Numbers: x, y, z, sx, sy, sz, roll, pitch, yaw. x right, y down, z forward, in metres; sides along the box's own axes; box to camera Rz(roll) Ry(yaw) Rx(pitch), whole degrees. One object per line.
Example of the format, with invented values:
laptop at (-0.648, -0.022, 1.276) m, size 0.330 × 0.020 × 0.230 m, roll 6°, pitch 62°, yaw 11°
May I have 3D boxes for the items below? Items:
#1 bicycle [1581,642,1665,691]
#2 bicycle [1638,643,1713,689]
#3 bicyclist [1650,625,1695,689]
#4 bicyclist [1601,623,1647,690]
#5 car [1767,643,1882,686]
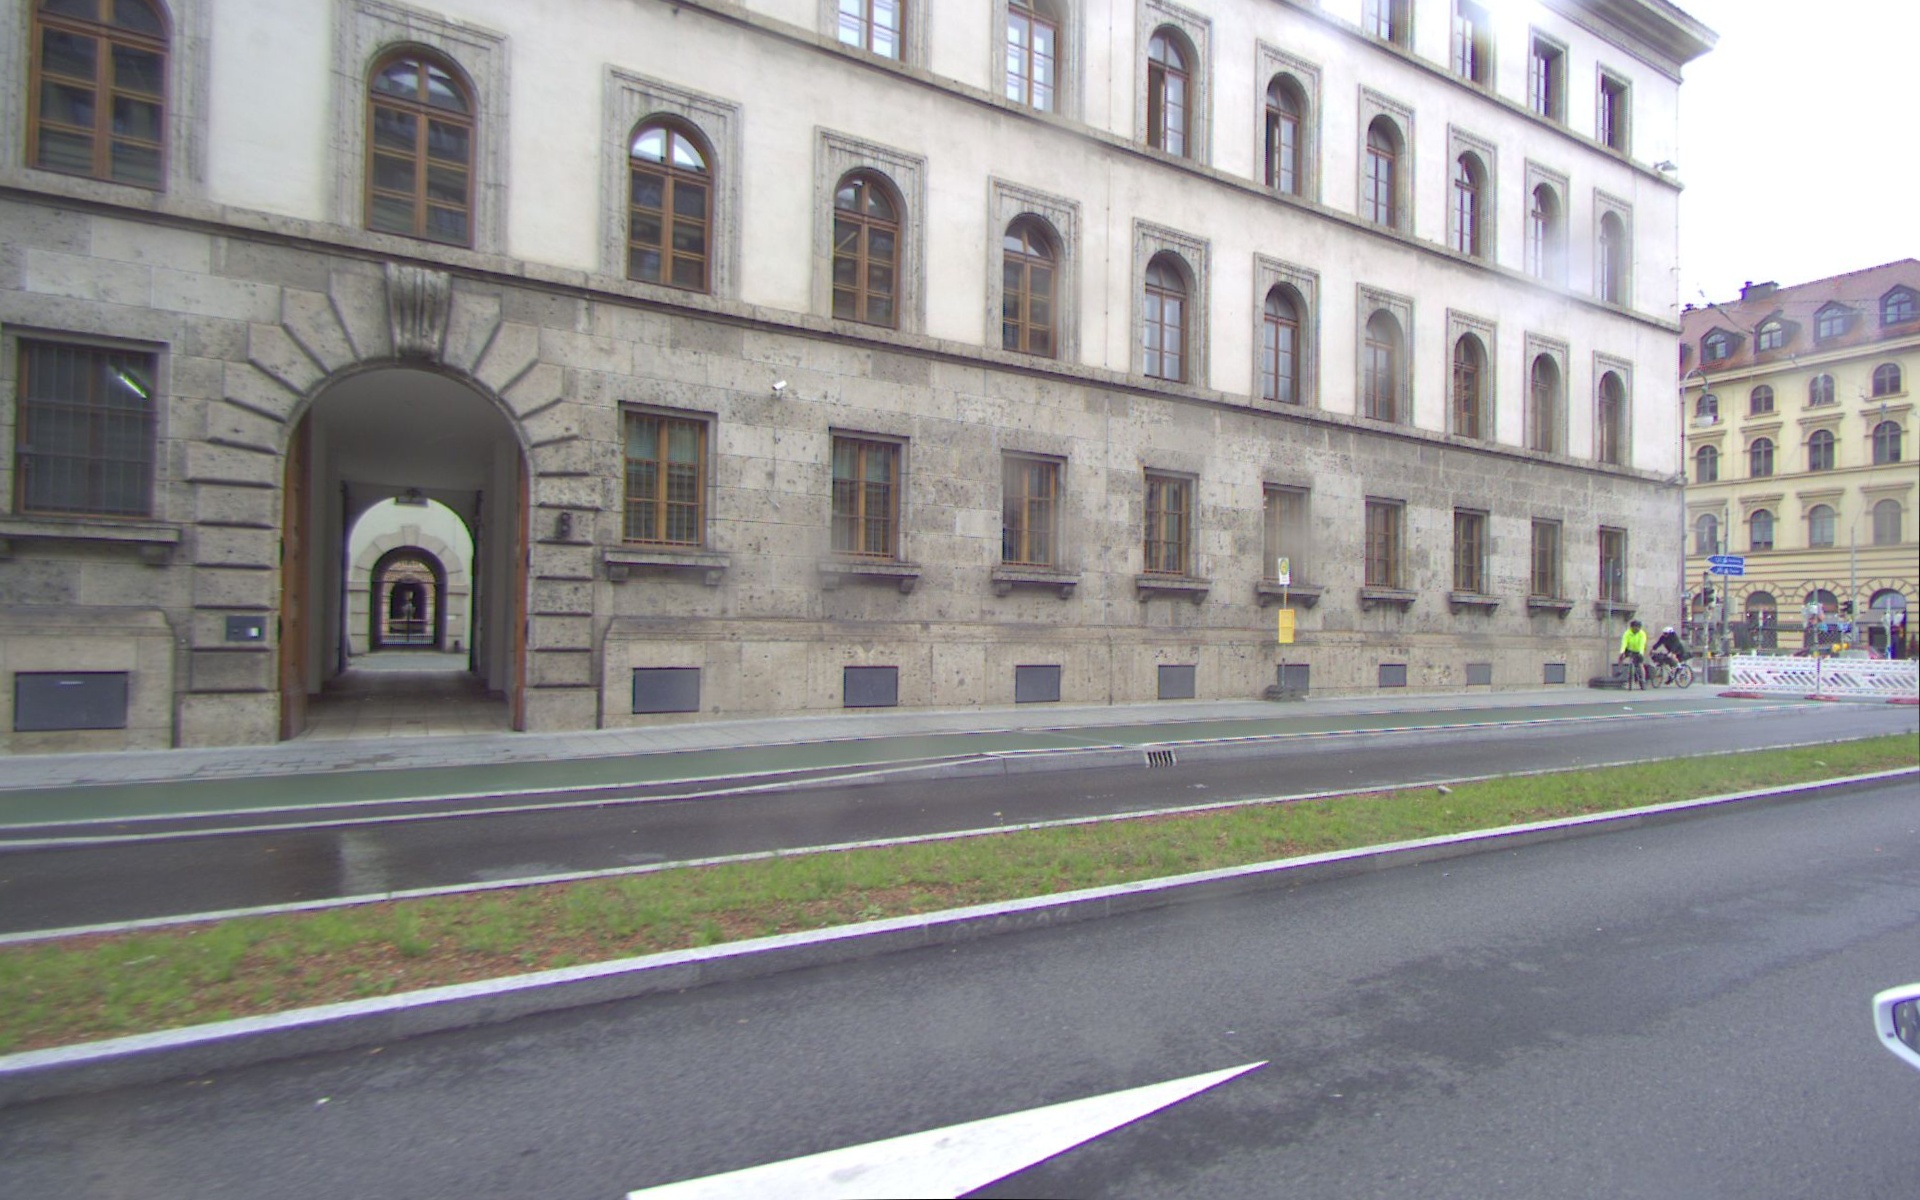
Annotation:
bicycle at (18.185, 1.807, 27.544) m, size 2.416 × 1.259 × 0.784 m, roll 2°, pitch 0°, yaw -26°
bicycle at (20.524, 1.874, 28.799) m, size 2.169 × 1.259 × 0.784 m, roll 2°, pitch 0°, yaw -26°
bicyclist at (20.349, 1.617, 28.710) m, size 0.679 × 1.799 × 0.795 m, roll 1°, pitch 0°, yaw -26°
bicyclist at (18.211, 1.536, 27.547) m, size 0.679 × 1.772 × 0.795 m, roll 1°, pitch 0°, yaw -26°
car at (40.346, 2.988, 46.962) m, size 1.848 × 1.822 × 3.719 m, roll 2°, pitch -2°, yaw -32°
